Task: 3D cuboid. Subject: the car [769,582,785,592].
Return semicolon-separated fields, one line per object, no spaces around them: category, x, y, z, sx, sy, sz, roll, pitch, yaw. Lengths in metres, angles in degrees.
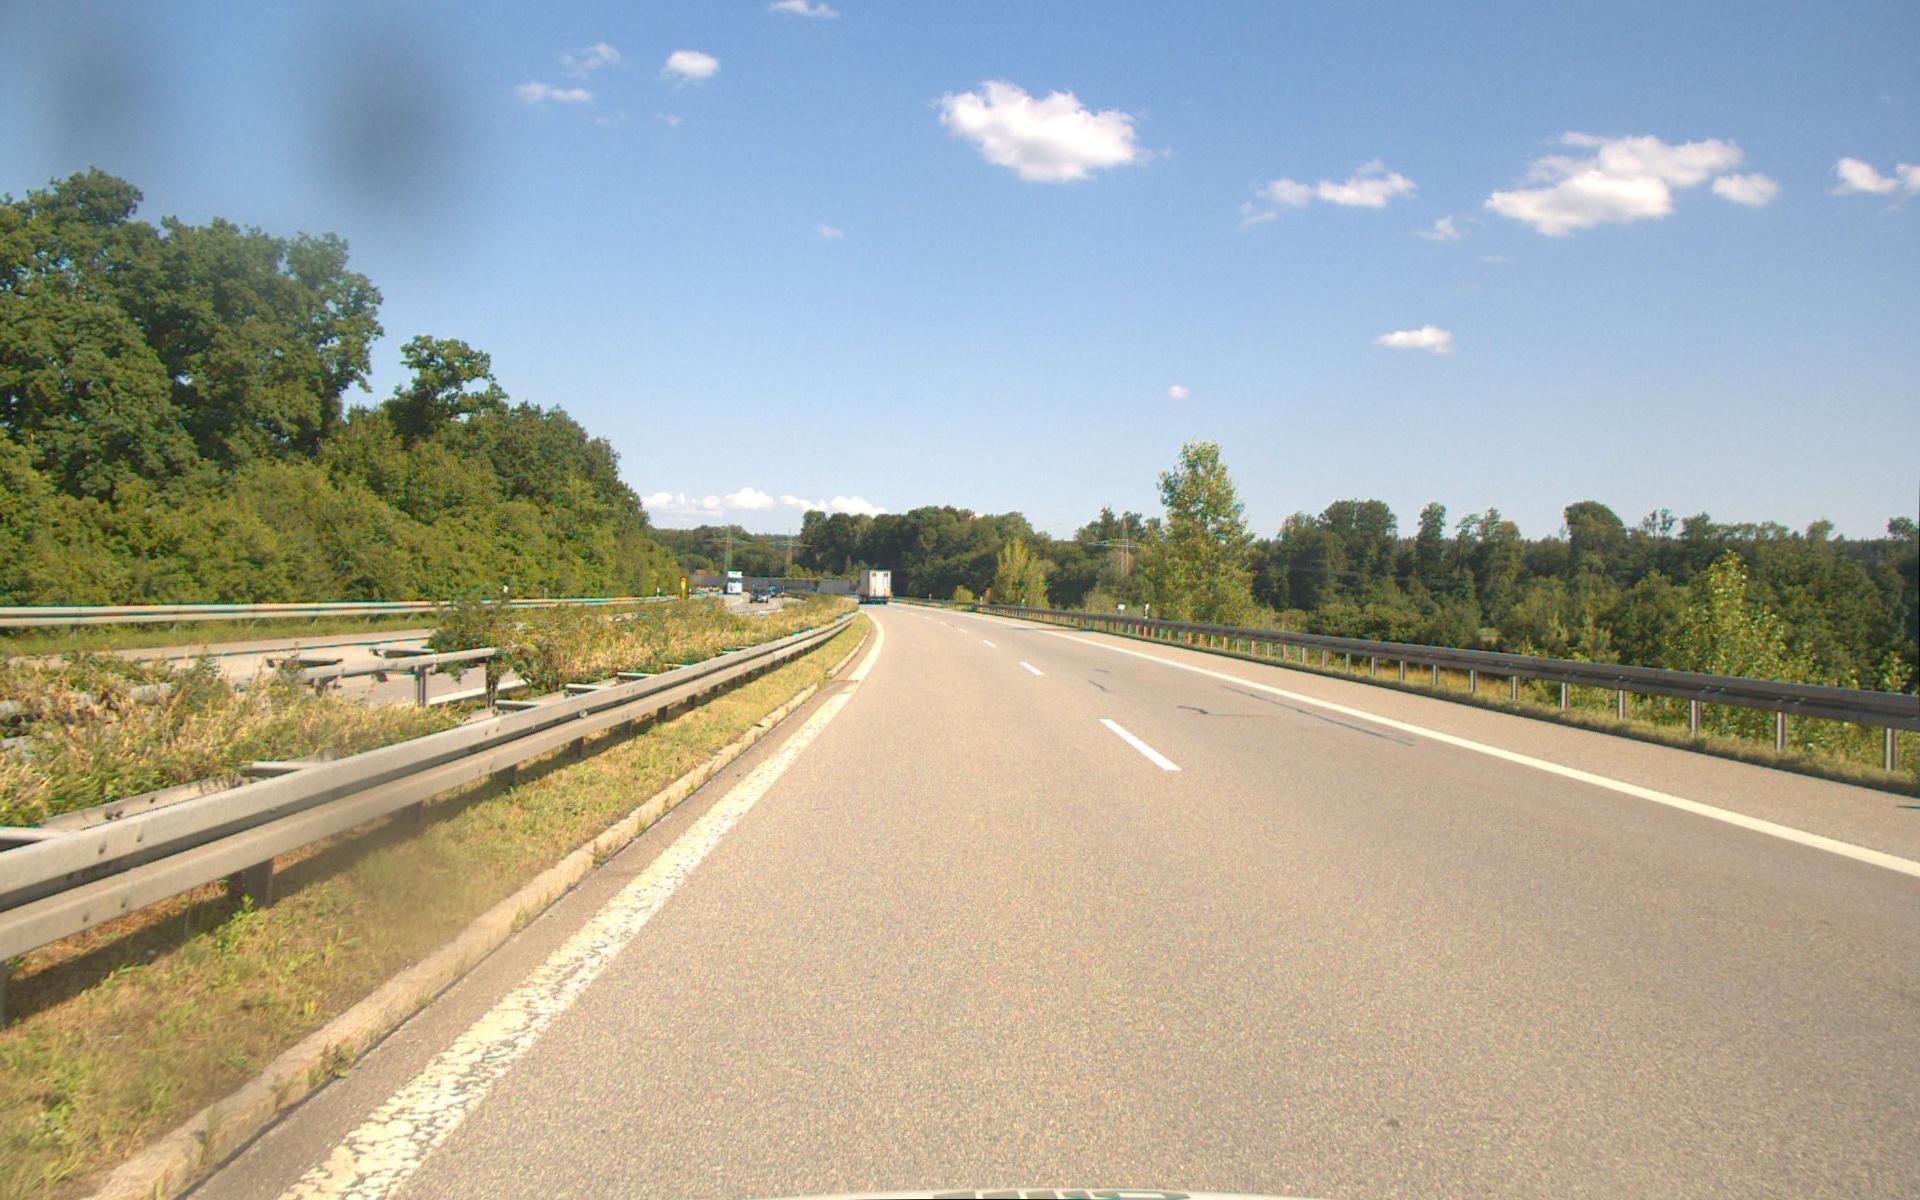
car;-25.600;-1.796;231.470;1.699;1.453;3.868;0;0;-13

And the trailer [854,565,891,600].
trailer;-10.733;-2.200;202.090;2.832;4.137;12.388;0;1;-11

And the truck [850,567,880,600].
truck;-12.029;-2.084;208.694;2.780;4.082;6.568;0;1;-12

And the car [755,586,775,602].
car;-18.967;-0.612;160.674;1.956;1.457;4.479;0;1;-7
